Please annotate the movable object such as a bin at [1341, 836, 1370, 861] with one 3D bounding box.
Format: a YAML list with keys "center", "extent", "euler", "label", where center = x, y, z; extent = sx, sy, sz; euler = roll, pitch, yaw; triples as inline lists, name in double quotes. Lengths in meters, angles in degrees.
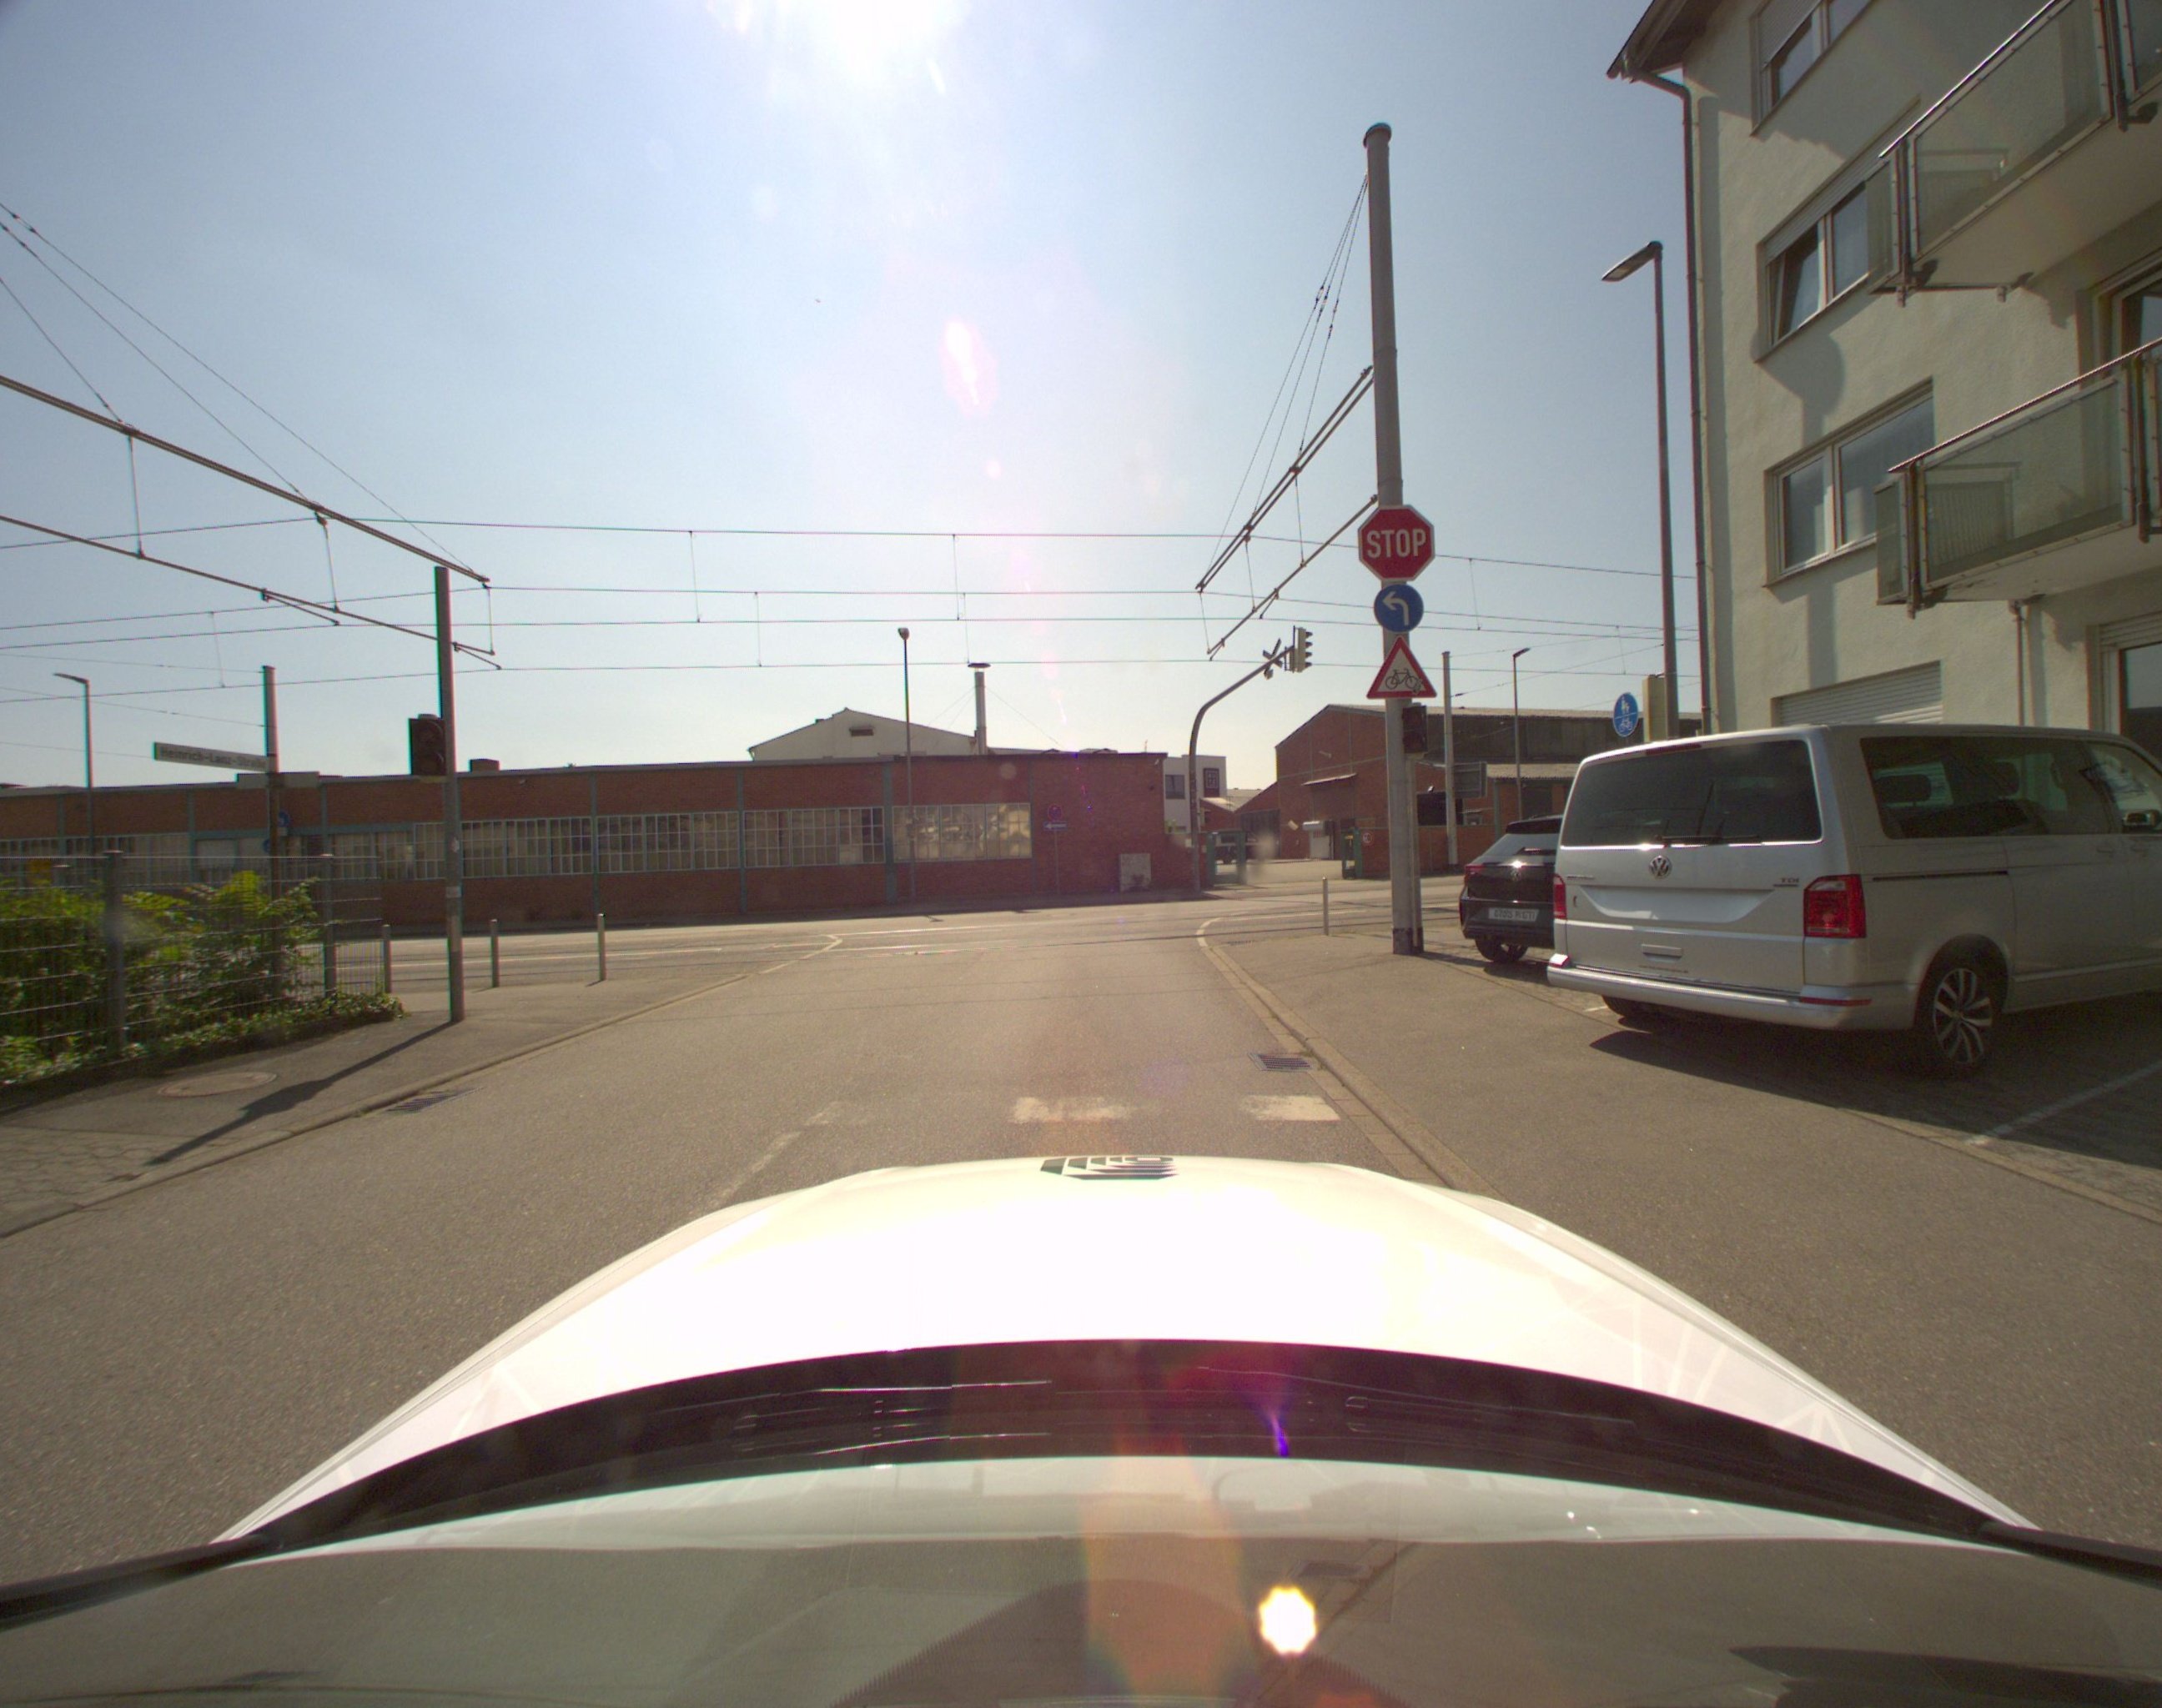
- center: [14.698, -0.293, 43.675]
  extent: [0.976, 1.314, 1.146]
  euler: [-2, 0, -15]
  label: "movable object such as a bin"

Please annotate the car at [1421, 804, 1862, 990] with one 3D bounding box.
- center: [5.714, 0.321, 8.327]
  extent: [3.978, 1.521, 1.865]
  euler: [-2, -1, -23]
  label: "car"

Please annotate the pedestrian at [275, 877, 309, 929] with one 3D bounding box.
- center: [-27.279, 1.682, 28.167]
  extent: [0.445, 1.765, 0.688]
  euler: [0, -1, 10]
  label: "pedestrian"

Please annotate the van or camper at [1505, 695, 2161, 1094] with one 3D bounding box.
- center: [5.505, 0.113, 5.572]
  extent: [4.555, 1.908, 1.987]
  euler: [-2, 0, -19]
  label: "van or camper"

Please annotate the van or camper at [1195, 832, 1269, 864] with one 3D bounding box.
- center: [9.487, -0.355, 50.990]
  extent: [4.439, 1.900, 1.979]
  euler: [1, -1, -34]
  label: "van or camper"
